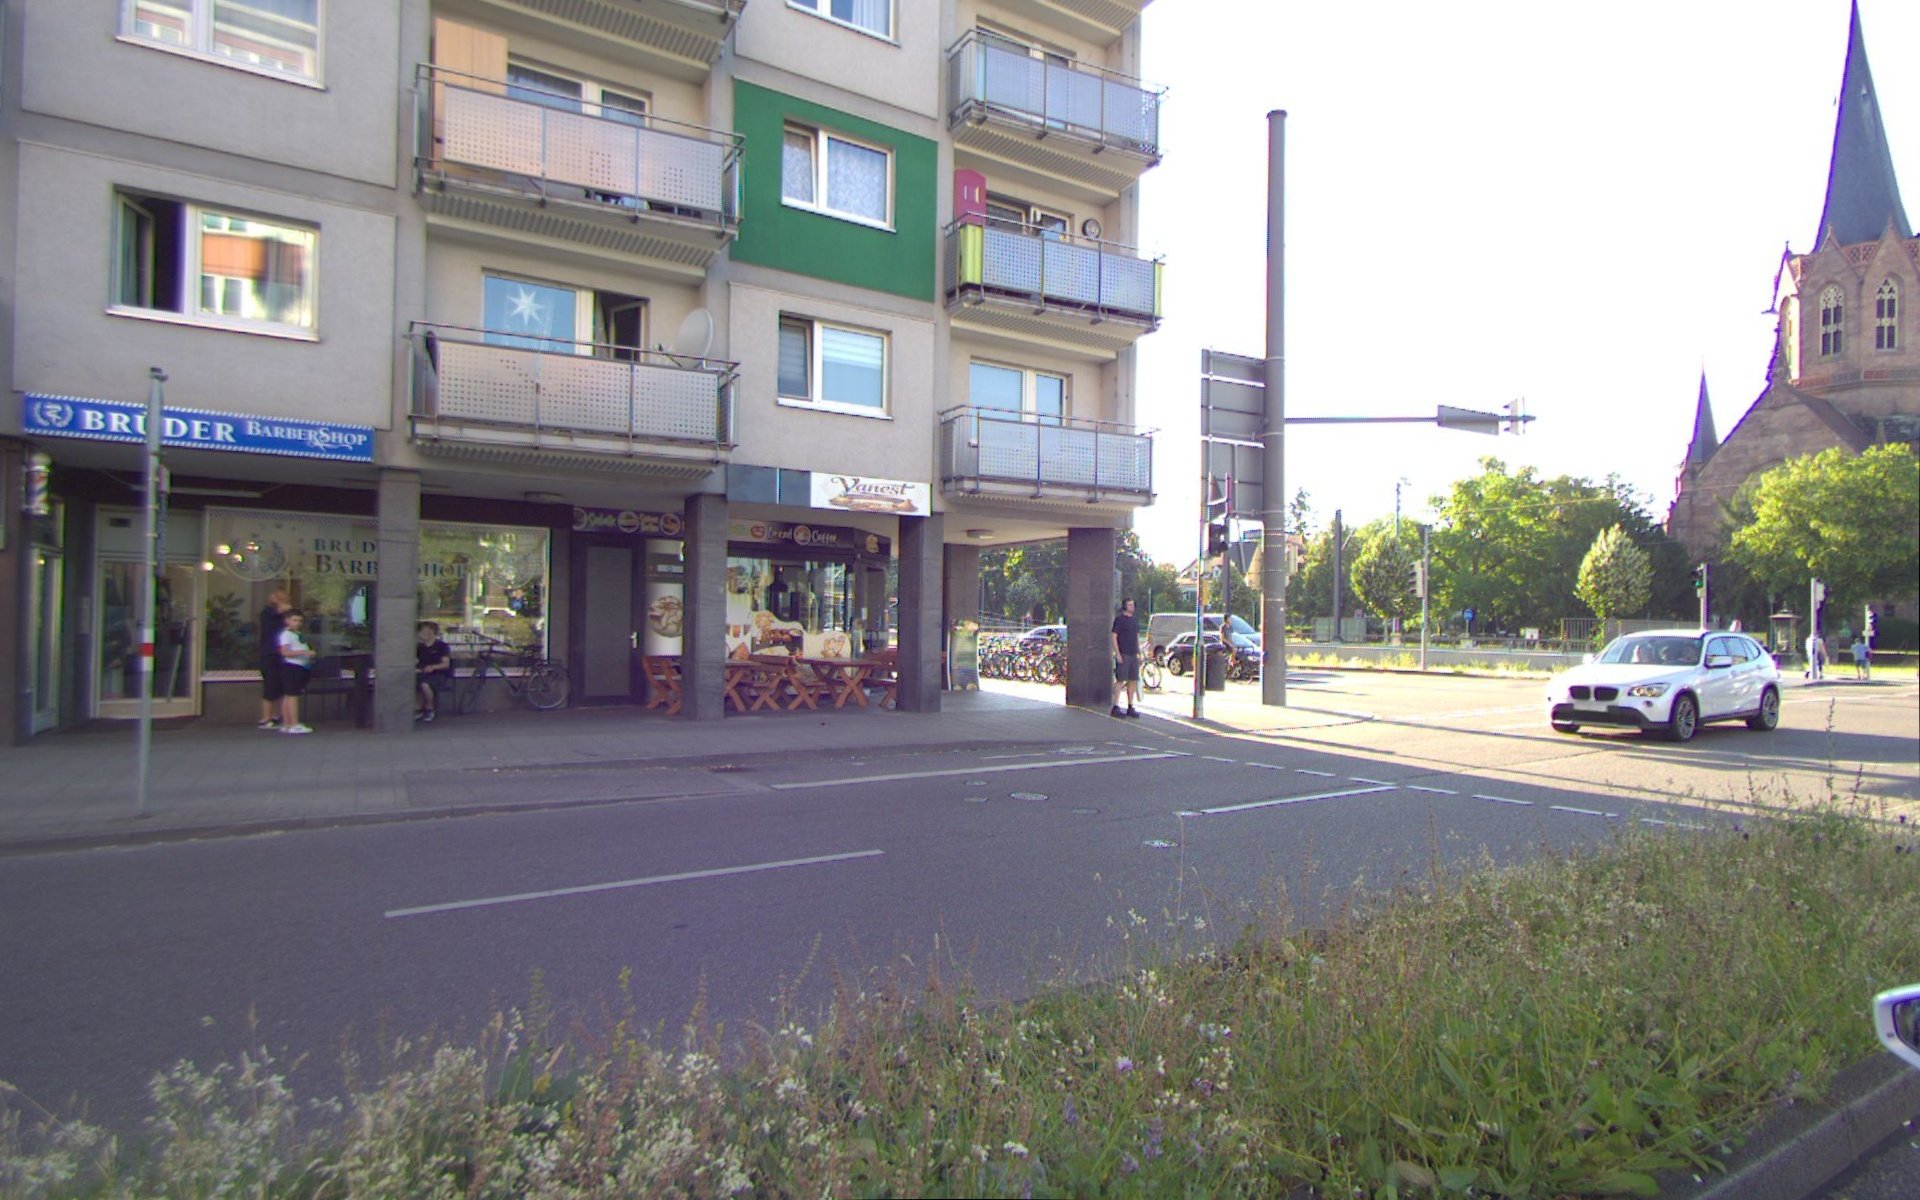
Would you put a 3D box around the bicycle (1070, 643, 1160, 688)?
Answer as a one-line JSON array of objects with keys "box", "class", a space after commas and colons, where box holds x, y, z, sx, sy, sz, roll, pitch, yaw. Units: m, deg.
[{"box": [3.855, 1.605, 24.911, 2.273, 1.065, 0.731, 2, -2, -31], "class": "bicycle"}]

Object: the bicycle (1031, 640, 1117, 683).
[{"box": [2.992, 1.608, 26.259, 2.273, 1.065, 0.731, 2, -2, -31], "class": "bicycle"}]

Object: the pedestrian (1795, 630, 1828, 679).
[{"box": [31.138, 1.985, 36.750, 0.887, 1.719, 0.703, 2, 0, -36], "class": "pedestrian"}]

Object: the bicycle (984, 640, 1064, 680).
[{"box": [1.823, 1.685, 28.435, 2.273, 1.065, 0.731, 2, -2, -31], "class": "bicycle"}]

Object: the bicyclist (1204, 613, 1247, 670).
[{"box": [7.700, 1.194, 29.153, 0.952, 1.619, 0.732, 1, -2, -30], "class": "bicyclist"}]

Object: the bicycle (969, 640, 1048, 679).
[{"box": [1.420, 1.713, 29.126, 2.273, 1.065, 0.731, 2, -2, -31], "class": "bicycle"}]

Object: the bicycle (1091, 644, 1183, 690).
[{"box": [4.280, 1.598, 24.229, 2.273, 1.065, 0.731, 2, -1, -31], "class": "bicycle"}]

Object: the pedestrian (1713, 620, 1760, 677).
[{"box": [24.888, 1.551, 32.198, 0.803, 1.762, 0.960, 2, -1, -32], "class": "pedestrian"}]

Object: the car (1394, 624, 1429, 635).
[{"box": [68.149, 4.399, 151.672, 1.985, 1.592, 4.411, 2, -2, -41], "class": "car"}]

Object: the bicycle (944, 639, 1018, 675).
[{"box": [0.654, 1.725, 30.389, 2.273, 1.065, 0.558, 2, -2, -31], "class": "bicycle"}]

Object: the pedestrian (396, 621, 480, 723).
[{"box": [-7.101, 0.957, 13.687, 0.613, 1.331, 0.811, 0, -1, 16], "class": "pedestrian"}]

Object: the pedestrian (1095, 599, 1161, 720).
[{"box": [2.745, 0.950, 16.389, 0.803, 1.900, 0.605, 1, 2, -30], "class": "pedestrian"}]

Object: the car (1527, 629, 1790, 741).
[{"box": [10.733, 1.204, 15.369, 4.199, 1.508, 1.744, 1, -2, -31], "class": "car"}]

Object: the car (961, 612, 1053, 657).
[{"box": [2.164, 1.635, 48.029, 1.978, 2.040, 4.896, 2, -2, -32], "class": "car"}]

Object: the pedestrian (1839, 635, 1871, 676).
[{"box": [38.563, 2.380, 43.264, 1.008, 1.719, 0.835, 2, 0, -39], "class": "pedestrian"}]

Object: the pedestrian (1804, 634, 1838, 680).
[{"box": [33.290, 2.197, 38.835, 1.009, 1.719, 0.834, 2, 0, -42], "class": "pedestrian"}]

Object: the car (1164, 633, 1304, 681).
[{"box": [8.507, 1.749, 31.560, 1.781, 1.330, 4.165, 2, -2, -32], "class": "car"}]

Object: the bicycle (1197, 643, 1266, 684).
[{"box": [7.815, 1.810, 28.946, 0.940, 1.112, 1.769, 1, -2, -30], "class": "bicycle"}]

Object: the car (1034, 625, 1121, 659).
[{"box": [5.127, 1.837, 44.138, 1.781, 1.392, 3.880, 2, -2, -32], "class": "car"}]

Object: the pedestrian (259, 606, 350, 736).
[{"box": [-7.782, 0.818, 11.935, 0.613, 1.486, 0.658, 0, -1, 24], "class": "pedestrian"}]

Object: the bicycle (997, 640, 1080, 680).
[{"box": [2.188, 1.649, 27.757, 2.273, 1.065, 0.731, 2, -2, -31], "class": "bicycle"}]

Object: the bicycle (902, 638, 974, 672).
[{"box": [-0.714, 1.801, 32.778, 2.273, 1.065, 0.731, 2, -2, -31], "class": "bicycle"}]

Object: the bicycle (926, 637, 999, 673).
[{"box": [0.080, 1.720, 31.406, 2.273, 1.065, 0.642, 2, -2, -31], "class": "bicycle"}]

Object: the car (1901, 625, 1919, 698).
[{"box": [23.766, 1.421, 23.380, 4.056, 1.650, 1.711, 1, -2, -32], "class": "car"}]

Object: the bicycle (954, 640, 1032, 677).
[{"box": [0.981, 1.727, 29.805, 2.273, 1.065, 0.731, 2, -2, -31], "class": "bicycle"}]

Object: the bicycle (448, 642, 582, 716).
[{"box": [-6.510, 1.134, 14.742, 1.684, 1.012, 0.619, 2, -2, -40], "class": "bicycle"}]

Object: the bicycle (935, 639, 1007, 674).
[{"box": [0.358, 1.735, 30.897, 2.273, 1.065, 0.558, 2, -2, -31], "class": "bicycle"}]

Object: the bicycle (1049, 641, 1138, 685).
[{"box": [3.417, 1.591, 25.593, 2.273, 1.065, 0.731, 2, -2, -31], "class": "bicycle"}]

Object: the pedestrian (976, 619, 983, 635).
[{"box": [2.311, 3.206, 119.069, 0.677, 1.847, 0.531, 2, -1, -27], "class": "pedestrian"}]

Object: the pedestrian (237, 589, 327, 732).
[{"box": [-8.325, 0.729, 12.350, 0.613, 1.694, 0.658, 0, -1, 24], "class": "pedestrian"}]

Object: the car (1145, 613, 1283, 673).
[{"box": [9.177, 1.508, 36.664, 1.978, 2.040, 4.896, 2, -2, -32], "class": "car"}]

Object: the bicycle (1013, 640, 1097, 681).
[{"box": [2.576, 1.618, 27.068, 2.273, 1.065, 0.731, 2, -2, -31], "class": "bicycle"}]
